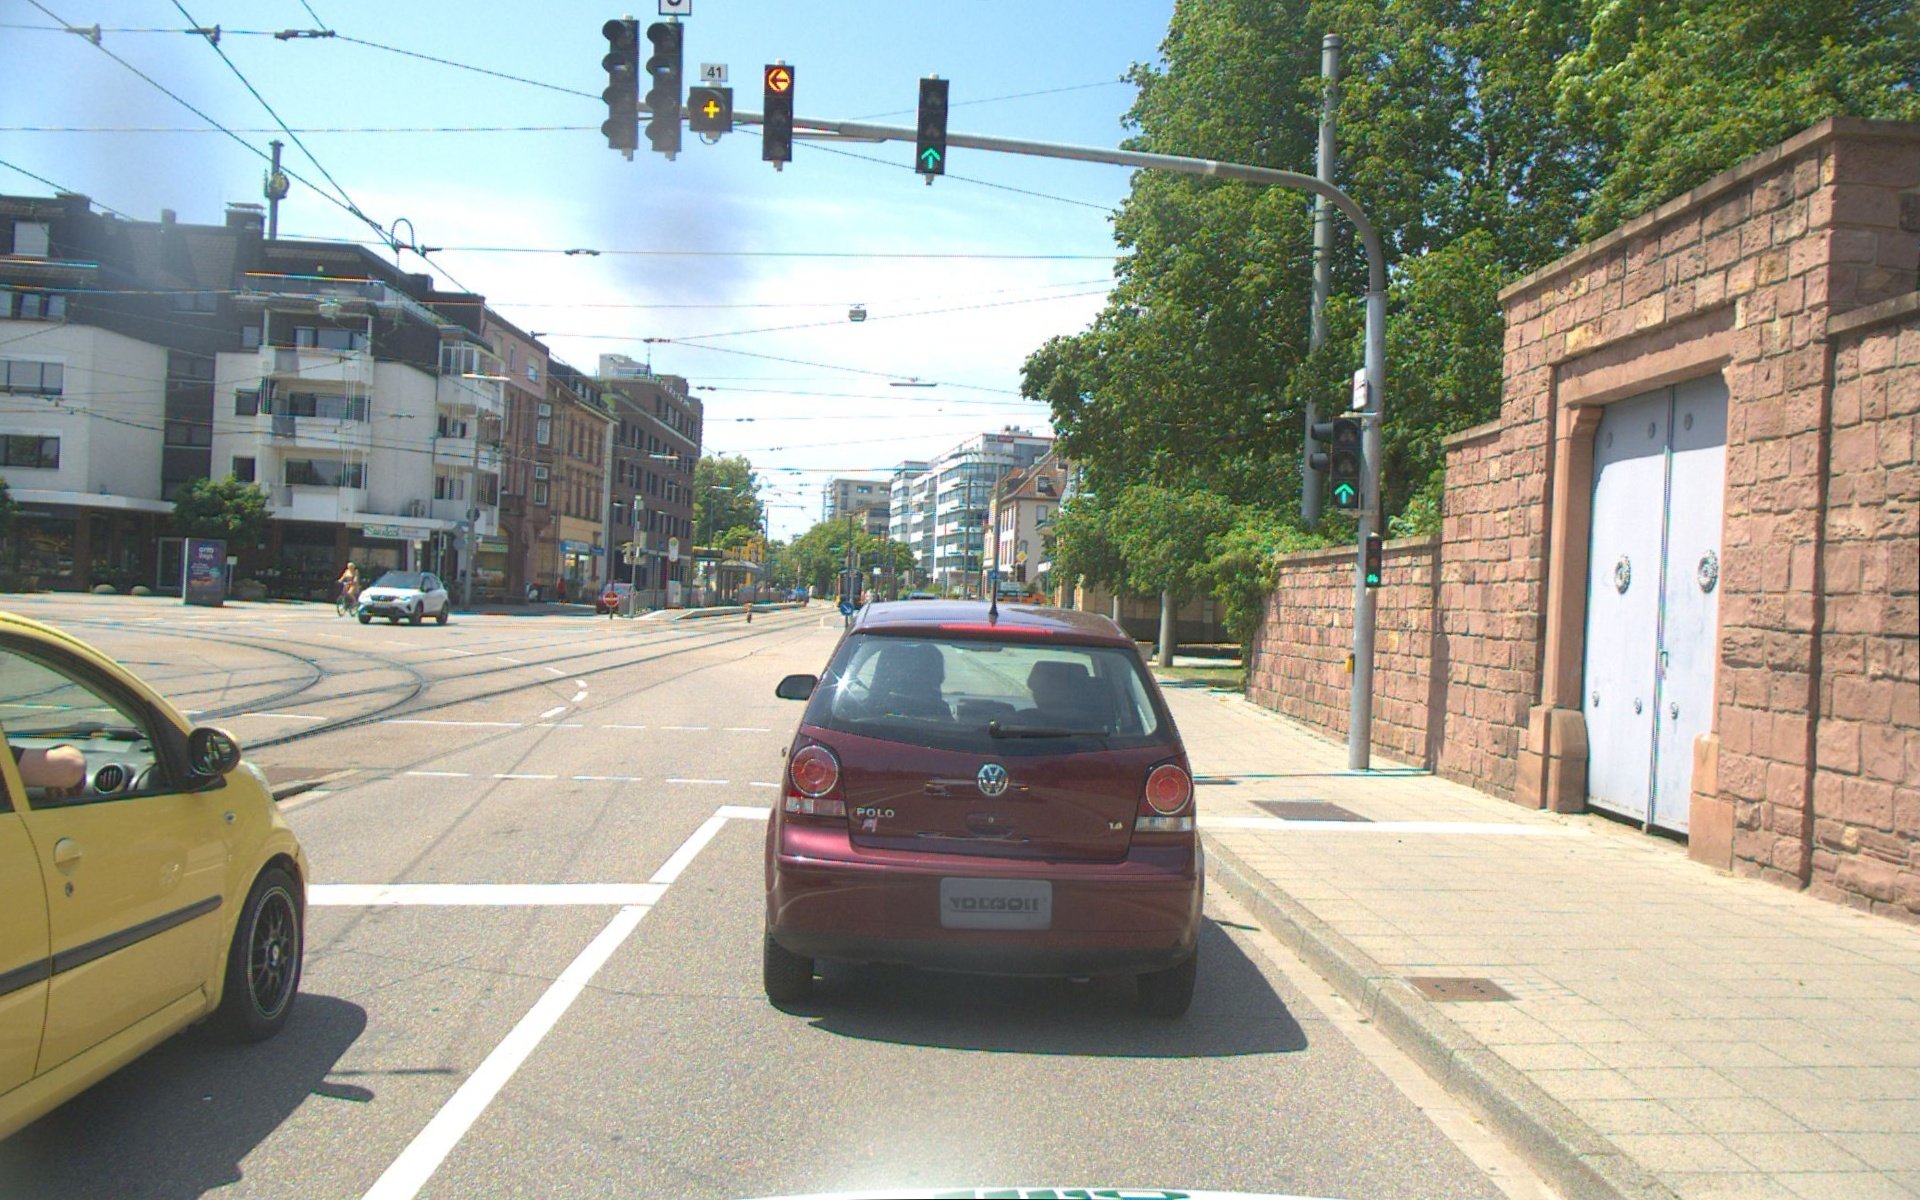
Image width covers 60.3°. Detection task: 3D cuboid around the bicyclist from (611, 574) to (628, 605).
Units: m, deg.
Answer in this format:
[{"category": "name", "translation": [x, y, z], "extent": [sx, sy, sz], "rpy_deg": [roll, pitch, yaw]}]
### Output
[{"category": "bicyclist", "translation": [-20.063, -0.614, 97.402], "extent": [0.717, 1.793, 1.134], "rpy_deg": [2, 0, -2]}]

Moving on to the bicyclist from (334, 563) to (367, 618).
[{"category": "bicyclist", "translation": [-20.690, -0.326, 56.148], "extent": [0.680, 1.796, 1.137], "rpy_deg": [2, 1, -2]}]

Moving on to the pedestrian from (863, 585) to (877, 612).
[{"category": "pedestrian", "translation": [-5.852, -0.085, 107.719], "extent": [0.747, 1.704, 1.100], "rpy_deg": [2, 0, -1]}]

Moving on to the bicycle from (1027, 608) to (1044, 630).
[{"category": "bicycle", "translation": [3.701, 0.941, 81.224], "extent": [0.655, 1.020, 1.863], "rpy_deg": [-2, 0, -2]}]

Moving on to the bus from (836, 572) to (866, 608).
[{"category": "bus", "translation": [-9.673, -0.870, 147.434], "extent": [2.101, 3.055, 6.573], "rpy_deg": [2, 0, 0]}]

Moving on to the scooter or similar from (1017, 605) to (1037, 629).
[{"category": "scooter or similar", "translation": [3.410, 0.862, 84.223], "extent": [0.335, 1.198, 1.456], "rpy_deg": [2, 0, -25]}]

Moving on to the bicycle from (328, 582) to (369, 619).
[{"category": "bicycle", "translation": [-20.696, 0.004, 56.033], "extent": [0.680, 1.169, 1.931], "rpy_deg": [2, 1, -2]}]

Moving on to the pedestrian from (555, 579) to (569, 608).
[{"category": "pedestrian", "translation": [-22.061, -0.364, 91.749], "extent": [0.602, 1.588, 0.640], "rpy_deg": [2, 0, -2]}]

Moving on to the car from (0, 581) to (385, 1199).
[{"category": "car", "translation": [-2.893, 0.685, 4.350], "extent": [1.583, 1.446, 3.654], "rpy_deg": [0, 0, -2]}]

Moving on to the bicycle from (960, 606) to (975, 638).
[{"category": "bicycle", "translation": [0.292, 0.874, 66.271], "extent": [0.367, 1.218, 1.906], "rpy_deg": [2, 0, 6]}]

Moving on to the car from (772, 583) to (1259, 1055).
[{"category": "car", "translation": [0.136, 0.712, 6.901], "extent": [1.530, 1.479, 3.060], "rpy_deg": [2, 0, -2]}]

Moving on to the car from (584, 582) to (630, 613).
[{"category": "car", "translation": [-17.999, -0.132, 84.495], "extent": [1.591, 1.509, 3.827], "rpy_deg": [2, 0, -2]}]

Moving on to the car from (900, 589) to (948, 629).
[{"category": "car", "translation": [-1.646, 0.400, 74.226], "extent": [1.954, 1.653, 4.629], "rpy_deg": [2, 0, -3]}]

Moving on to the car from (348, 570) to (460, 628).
[{"category": "car", "translation": [-16.621, -0.024, 49.621], "extent": [1.953, 1.580, 4.138], "rpy_deg": [2, 0, -1]}]

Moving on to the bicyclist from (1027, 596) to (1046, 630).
[{"category": "bicyclist", "translation": [3.754, 0.621, 81.314], "extent": [0.815, 1.646, 0.859], "rpy_deg": [-2, 0, -2]}]

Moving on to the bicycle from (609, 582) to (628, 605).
[{"category": "bicycle", "translation": [-20.069, -0.383, 97.312], "extent": [0.663, 1.327, 2.104], "rpy_deg": [2, 0, -1]}]

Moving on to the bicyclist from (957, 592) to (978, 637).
[{"category": "bicyclist", "translation": [0.295, 0.577, 66.201], "extent": [0.712, 1.791, 0.924], "rpy_deg": [2, 0, 5]}]

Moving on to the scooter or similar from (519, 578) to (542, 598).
[{"category": "scooter or similar", "translation": [-23.788, -0.645, 91.528], "extent": [0.477, 1.101, 1.578], "rpy_deg": [2, 0, 15]}]
